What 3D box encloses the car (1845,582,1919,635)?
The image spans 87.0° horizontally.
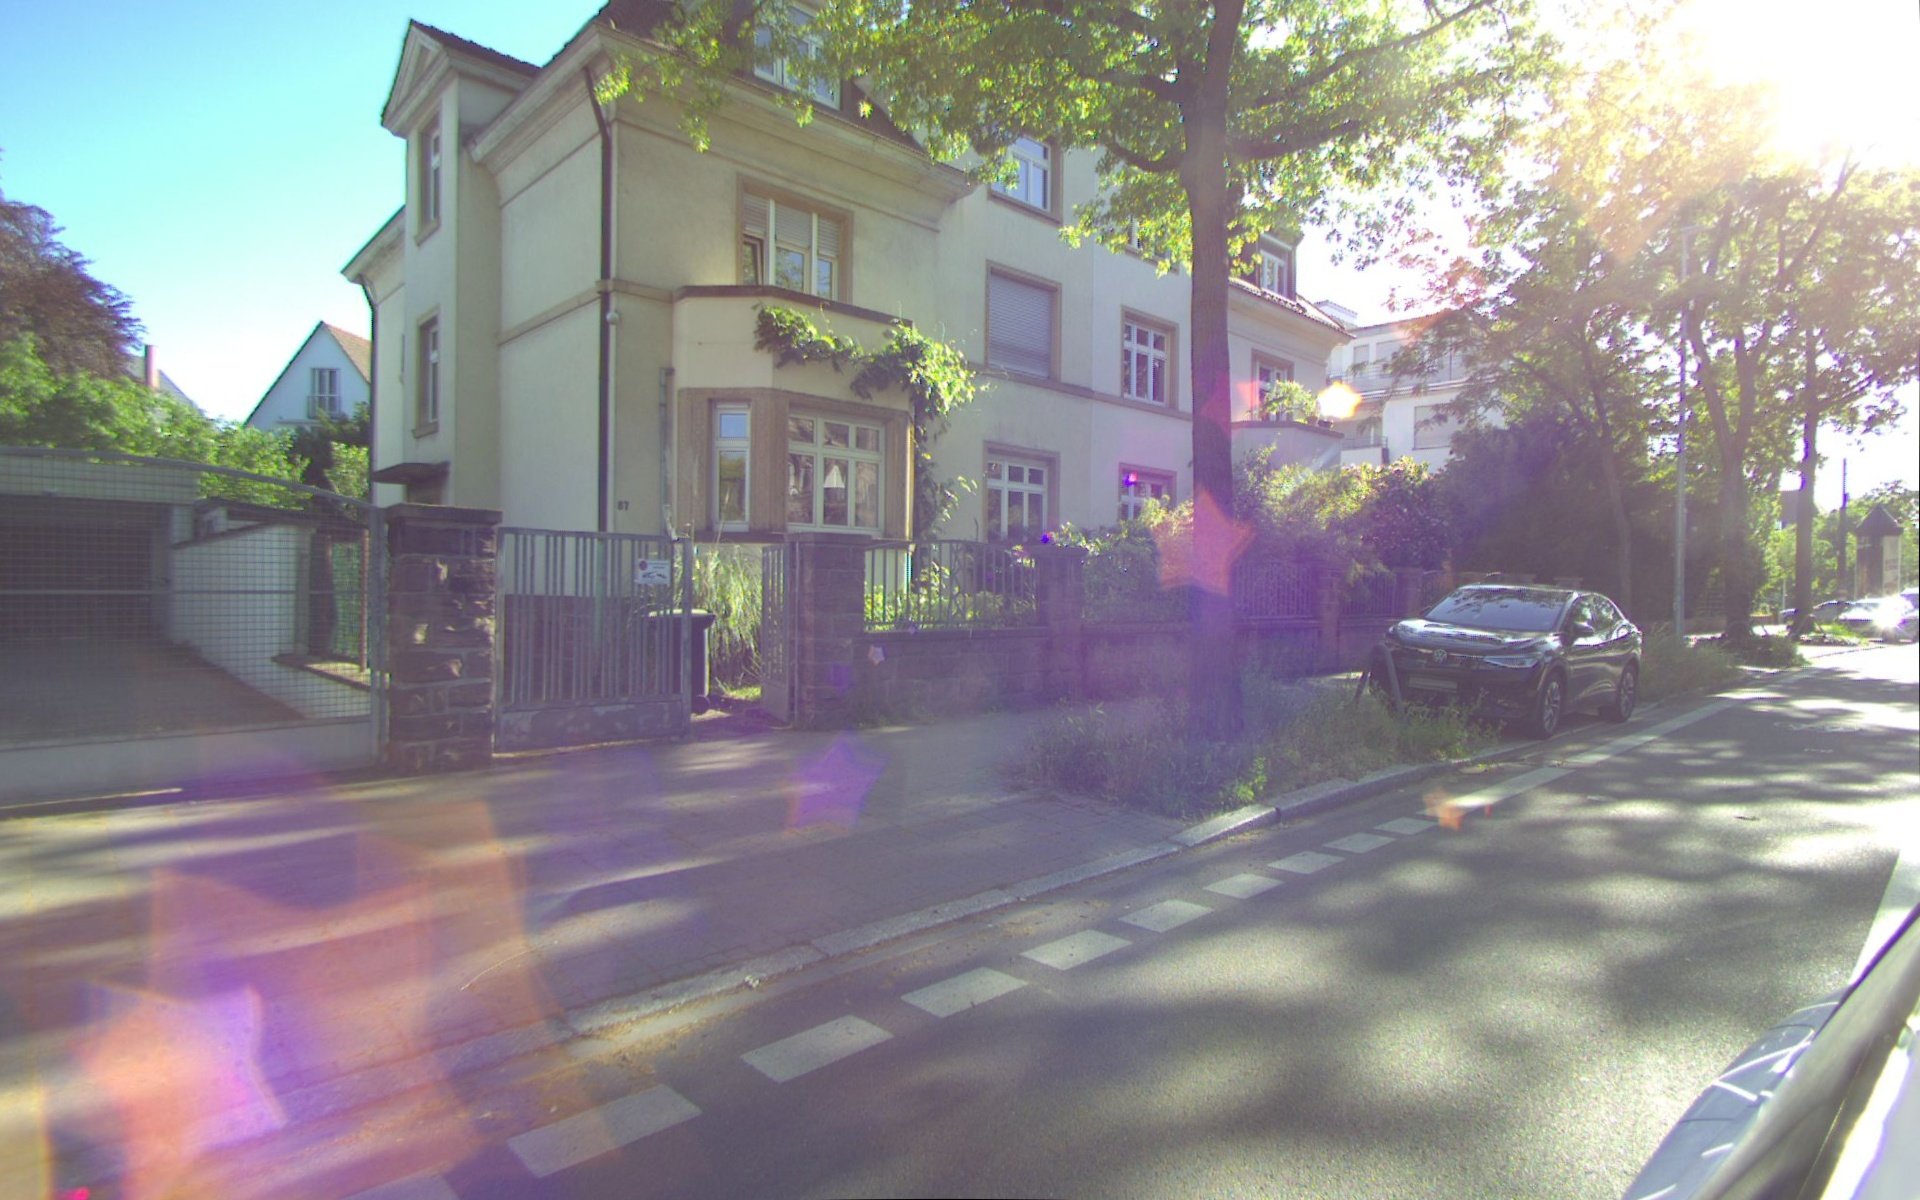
[{"bbox_3d":[31.513,0.257,34.102,3.927,1.660,1.824,0,1,-38],"label":"car"}]

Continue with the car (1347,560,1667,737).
[{"bbox_3d":[6.703,0.483,12.201,4.304,1.695,1.997,1,2,-42],"label":"car"}]

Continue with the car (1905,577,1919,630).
[{"bbox_3d":[36.988,0.123,37.708,4.663,1.919,2.128,0,1,-41],"label":"car"}]
